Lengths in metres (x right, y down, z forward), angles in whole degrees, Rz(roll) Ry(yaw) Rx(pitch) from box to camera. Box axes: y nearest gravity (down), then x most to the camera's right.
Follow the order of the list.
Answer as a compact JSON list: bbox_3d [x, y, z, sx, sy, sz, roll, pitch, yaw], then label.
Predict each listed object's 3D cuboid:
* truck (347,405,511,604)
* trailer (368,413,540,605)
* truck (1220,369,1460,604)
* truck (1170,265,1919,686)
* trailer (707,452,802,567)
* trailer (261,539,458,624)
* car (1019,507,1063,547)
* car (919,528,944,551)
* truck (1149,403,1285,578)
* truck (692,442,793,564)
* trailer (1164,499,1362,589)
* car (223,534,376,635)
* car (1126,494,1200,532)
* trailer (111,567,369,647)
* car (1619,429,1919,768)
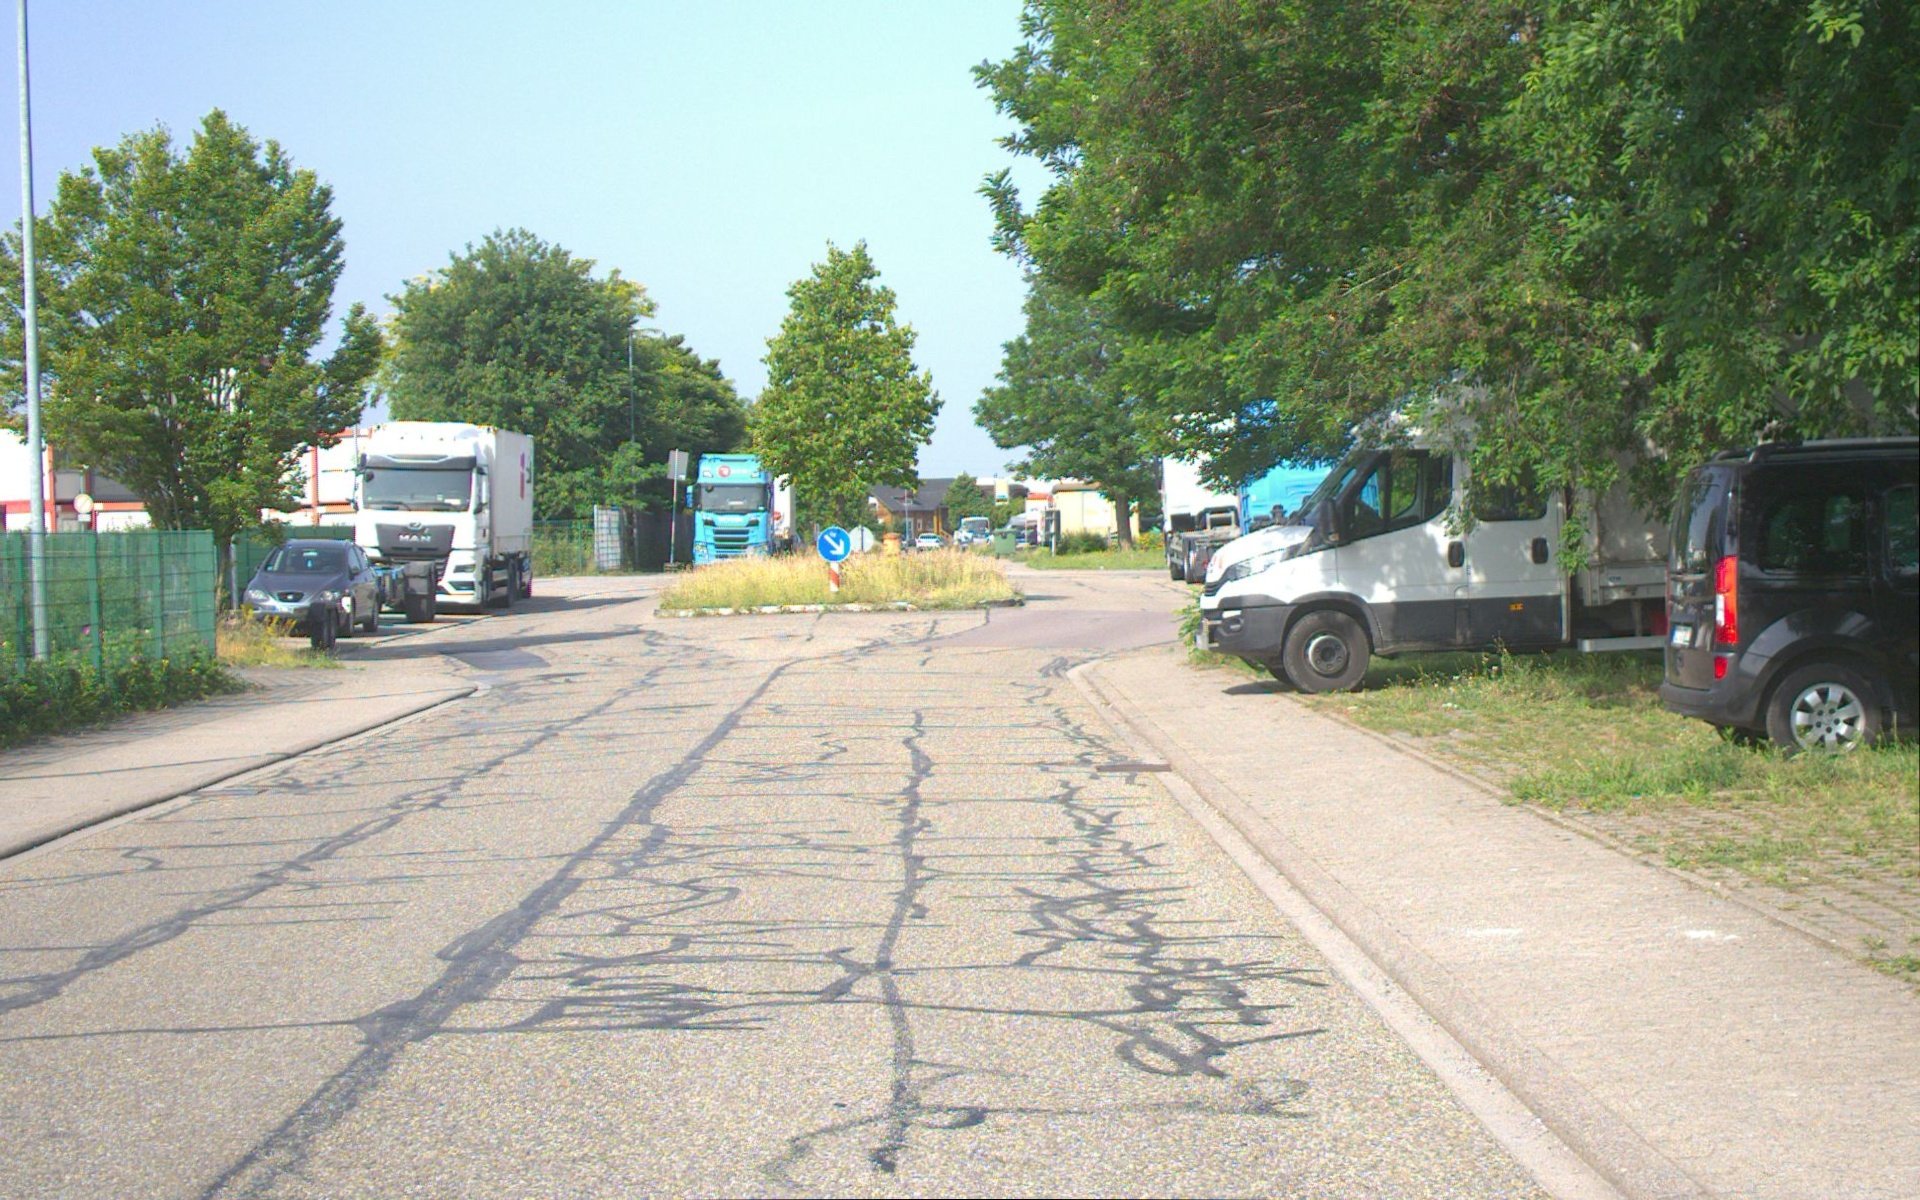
[{"bbox_3d":[-10.770,-1.888,70.077,2.708,3.908,4.297,1,0,-1],"label":"truck"},{"bbox_3d":[-10.845,-1.880,74.395,2.699,3.908,7.575,1,0,-1],"label":"trailer"},{"bbox_3d":[6.445,-1.851,59.863,2.888,3.523,9.755,-5,0,0],"label":"truck"},{"bbox_3d":[6.132,-1.097,30.546,8.208,3.359,2.741,-2,0,-1],"label":"truck"},{"bbox_3d":[-7.313,-3.172,123.855,2.831,3.830,12.036,1,0,-1],"label":"trailer"},{"bbox_3d":[-11.036,-0.366,63.605,2.681,1.448,5.077,0,1,1],"label":"trailer"},{"bbox_3d":[3.664,-3.286,155.314,1.792,1.744,4.000,1,0,-1],"label":"car"},{"bbox_3d":[-2.141,-4.529,257.418,1.718,1.655,3.824,1,0,-2],"label":"car"},{"bbox_3d":[6.227,-2.647,83.804,2.746,3.968,4.000,-4,1,0],"label":"truck"},{"bbox_3d":[-7.178,-3.142,114.640,2.825,3.812,9.673,1,0,-1],"label":"truck"},{"bbox_3d":[6.355,-1.249,74.767,2.746,1.568,16.173,-4,1,0],"label":"trailer"},{"bbox_3d":[-10.949,-0.296,57.253,1.696,1.556,4.336,1,1,0],"label":"car"},{"bbox_3d":[7.723,-3.302,131.047,1.667,1.325,3.664,1,0,-17],"label":"car"},{"bbox_3d":[-10.493,0.068,50.712,2.547,0.922,6.710,2,1,-2],"label":"trailer"},{"bbox_3d":[6.017,-0.068,19.918,3.987,1.831,2.000,-2,1,1],"label":"car"}]
